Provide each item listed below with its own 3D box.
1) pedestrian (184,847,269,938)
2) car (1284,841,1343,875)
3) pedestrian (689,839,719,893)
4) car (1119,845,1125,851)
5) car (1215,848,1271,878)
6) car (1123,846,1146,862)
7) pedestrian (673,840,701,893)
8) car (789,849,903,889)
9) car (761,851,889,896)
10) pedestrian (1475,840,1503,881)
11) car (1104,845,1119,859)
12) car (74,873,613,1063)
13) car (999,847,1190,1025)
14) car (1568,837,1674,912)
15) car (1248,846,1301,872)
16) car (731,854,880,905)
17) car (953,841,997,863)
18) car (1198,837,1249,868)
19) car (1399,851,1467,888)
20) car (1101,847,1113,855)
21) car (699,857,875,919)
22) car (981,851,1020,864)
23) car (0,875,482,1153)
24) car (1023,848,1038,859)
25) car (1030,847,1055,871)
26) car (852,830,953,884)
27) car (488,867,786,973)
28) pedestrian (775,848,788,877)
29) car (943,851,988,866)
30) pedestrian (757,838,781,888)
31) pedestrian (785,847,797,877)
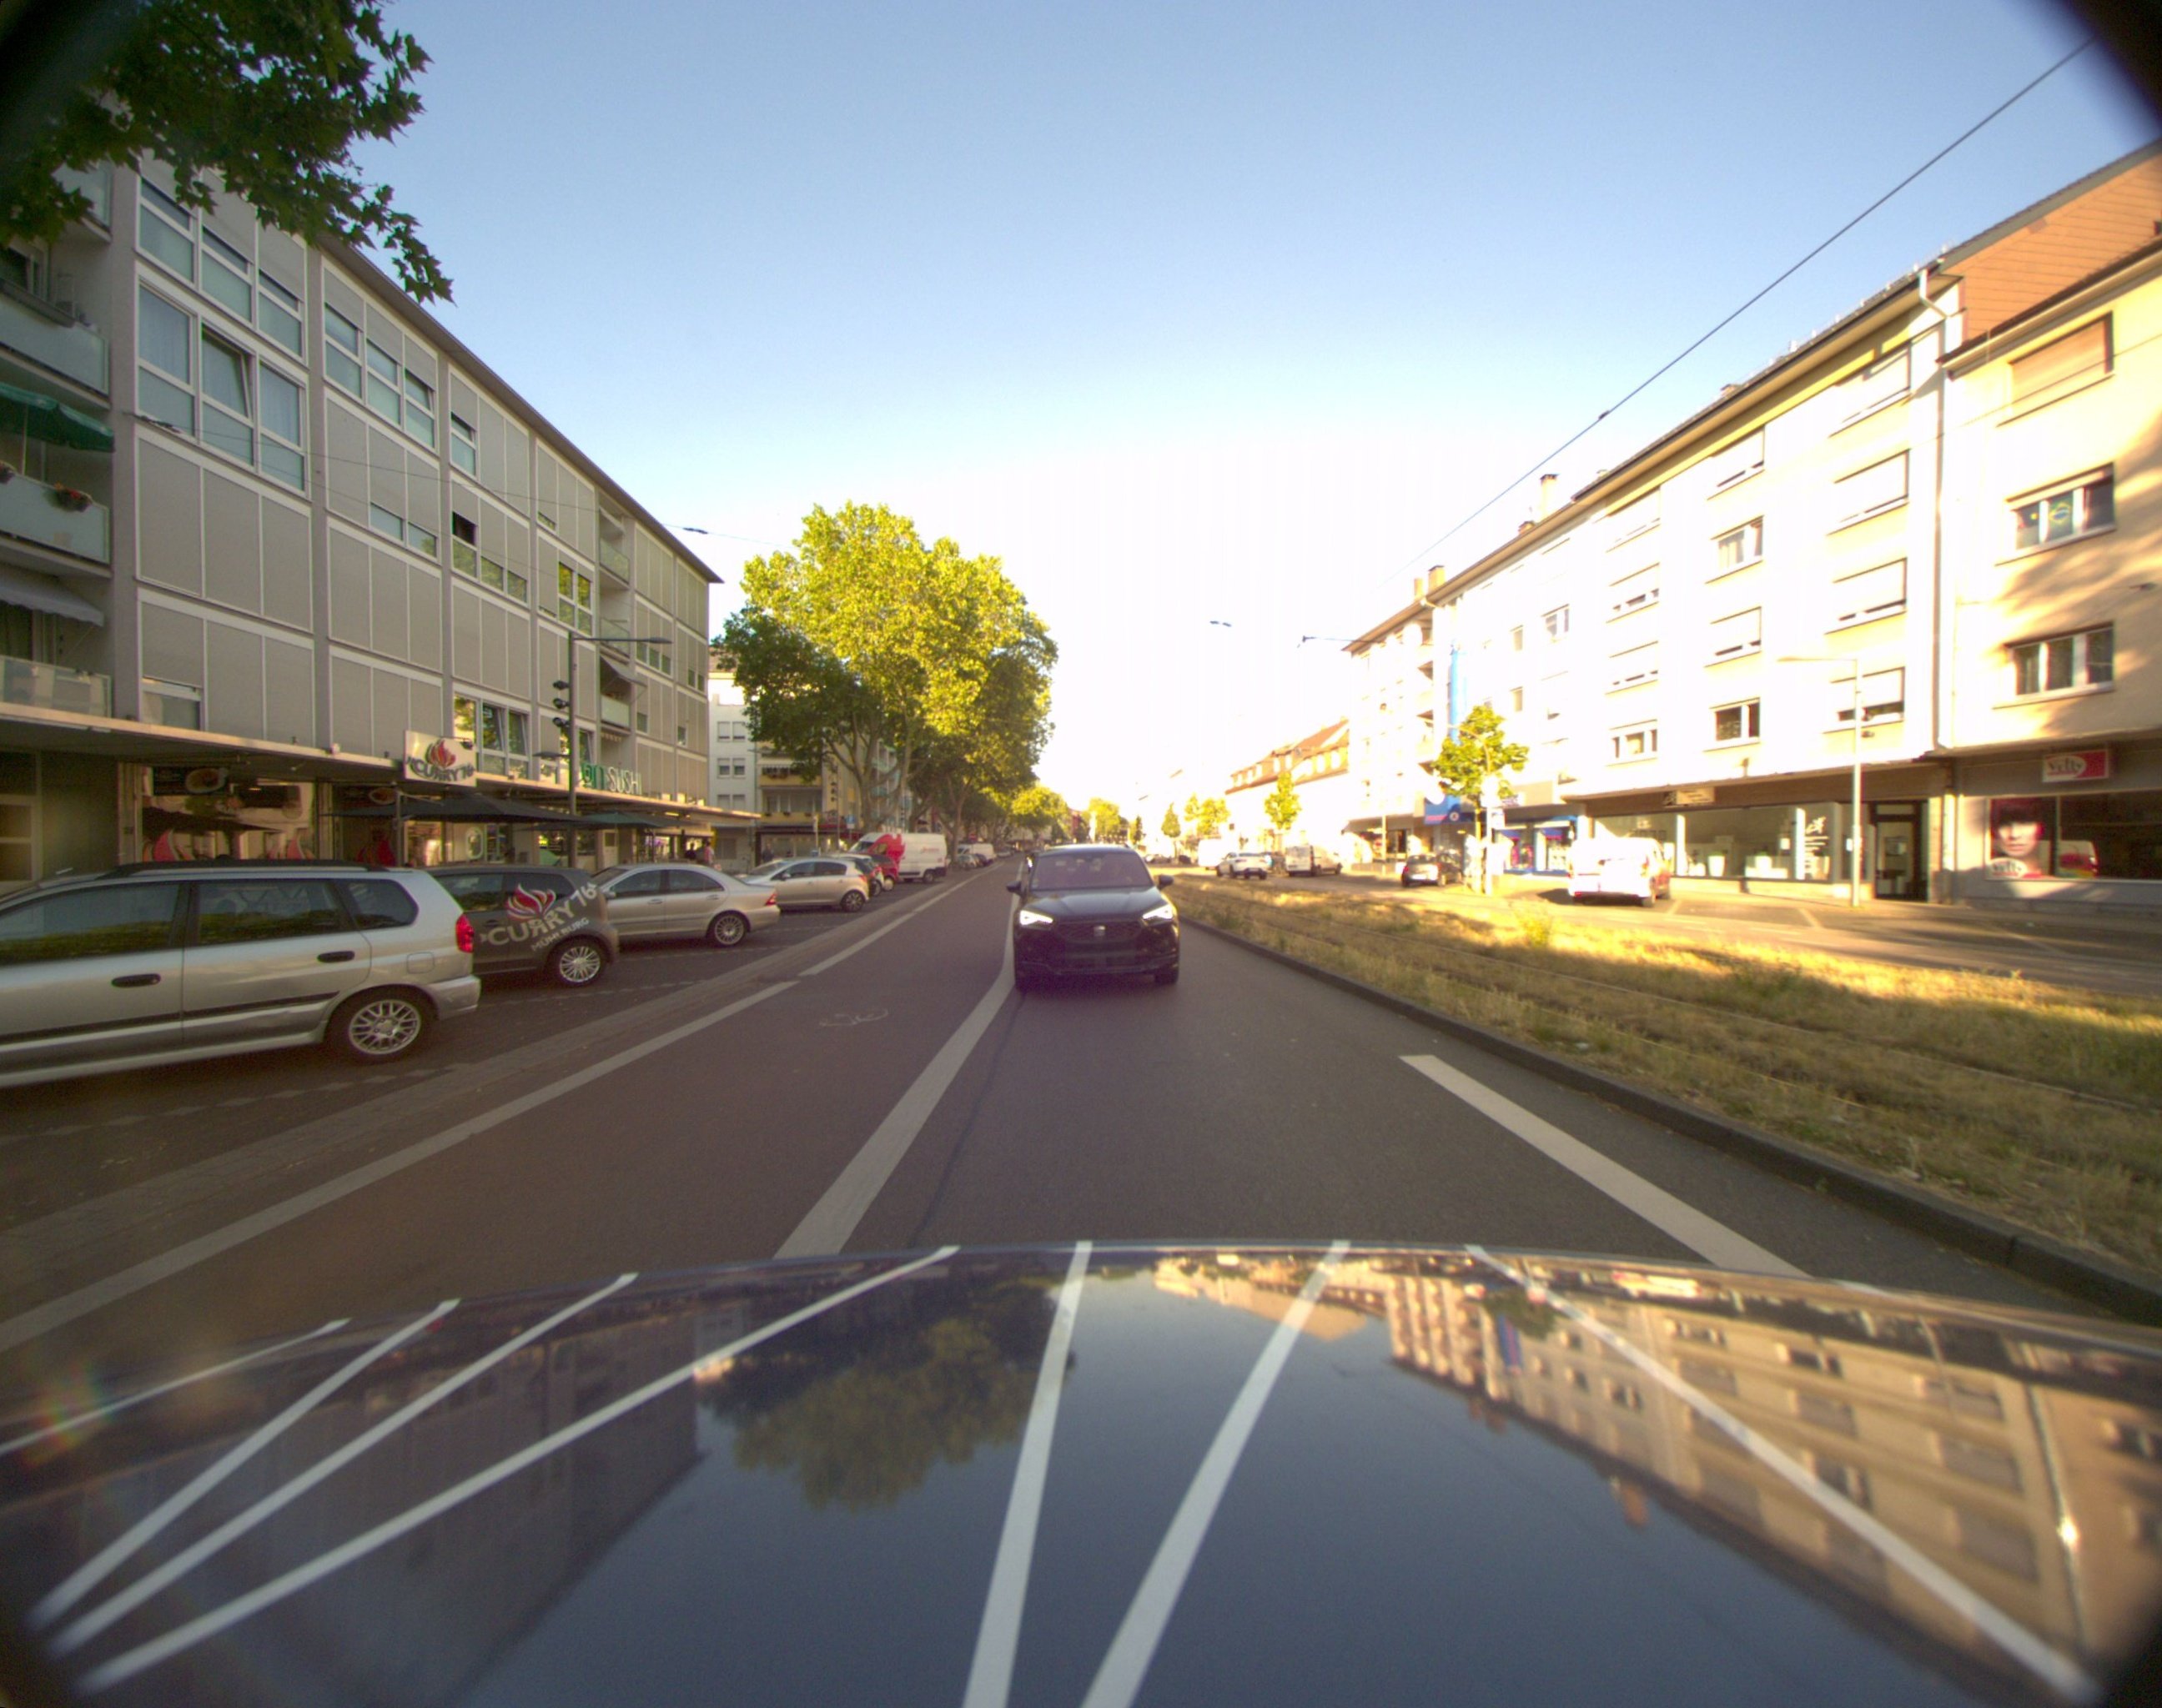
[{"bbox_3d":[-15.067,0.661,13.416,0.583,1.573,0.771,0,1,2],"label":"pedestrian"},{"bbox_3d":[14.442,0.232,47.028,1.853,1.926,4.513,-1,1,40],"label":"car"},{"bbox_3d":[-14.119,0.455,28.497,0.748,2.002,0.764,0,1,-4],"label":"pedestrian"},{"bbox_3d":[12.505,-1.864,230.243,1.842,2.002,4.001,0,1,4],"label":"car"},{"bbox_3d":[8.964,0.471,42.354,1.846,1.571,4.448,1,0,-4],"label":"car"},{"bbox_3d":[5.927,-0.003,84.017,1.999,1.783,3.998,0,1,-4],"label":"car"},{"bbox_3d":[-14.926,0.463,28.817,0.748,1.964,0.575,0,1,-4],"label":"pedestrian"},{"bbox_3d":[-9.169,0.596,29.725,3.948,1.421,1.672,2,2,-32],"label":"car"},{"bbox_3d":[-8.944,0.689,26.614,3.948,1.421,1.672,2,2,-32],"label":"car"},{"bbox_3d":[18.141,0.281,33.794,0.757,1.817,0.917,-1,1,-3],"label":"pedestrian"},{"bbox_3d":[4.545,-0.312,113.973,1.906,2.002,3.998,0,1,-5],"label":"car"},{"bbox_3d":[-7.591,0.980,8.220,1.672,1.420,3.950,2,1,38],"label":"car"},{"bbox_3d":[0.196,0.780,9.336,1.784,1.639,4.000,-2,1,2],"label":"car"},{"bbox_3d":[15.583,0.517,21.846,1.853,1.888,4.007,-1,2,44],"label":"car"},{"bbox_3d":[13.742,0.325,53.925,3.922,1.704,1.853,-2,1,-45],"label":"car"},{"bbox_3d":[-8.387,0.773,23.237,3.949,1.420,1.672,2,1,-34],"label":"car"},{"bbox_3d":[-11.700,-0.238,84.345,1.973,2.454,4.606,1,1,44],"label":"car"},{"bbox_3d":[12.786,-0.195,67.707,1.922,2.599,6.601,-1,1,34],"label":"car"},{"bbox_3d":[15.421,0.629,33.212,1.731,1.431,4.008,-1,1,40],"label":"car"},{"bbox_3d":[5.949,-0.703,173.806,2.498,1.871,5.273,0,0,1],"label":"car"},{"bbox_3d":[-7.550,0.838,19.764,3.950,1.420,1.555,1,1,-45],"label":"car"},{"bbox_3d":[-8.652,0.337,81.820,1.778,1.326,3.943,0,1,44],"label":"car"},{"bbox_3d":[-6.837,0.977,5.218,1.672,1.533,3.993,2,1,38],"label":"car"},{"bbox_3d":[-6.932,-0.107,104.993,1.729,1.443,4.227,-2,0,-1],"label":"car"},{"bbox_3d":[-2.777,0.354,55.428,1.646,1.646,3.999,-2,1,-1],"label":"car"},{"bbox_3d":[-8.655,0.159,37.143,4.606,2.479,1.672,0,0,-44],"label":"car"},{"bbox_3d":[-7.160,0.953,12.576,1.592,1.393,3.950,2,1,41],"label":"car"},{"bbox_3d":[-17.246,0.495,43.737,0.537,1.630,0.478,0,1,-4],"label":"pedestrian"},{"bbox_3d":[-10.895,0.431,72.069,1.778,1.396,3.943,0,1,44],"label":"car"},{"bbox_3d":[-12.697,0.371,30.958,0.748,2.002,0.559,0,1,-4],"label":"pedestrian"},{"bbox_3d":[-16.693,0.457,43.775,0.545,1.710,0.457,0,1,-4],"label":"pedestrian"}]
